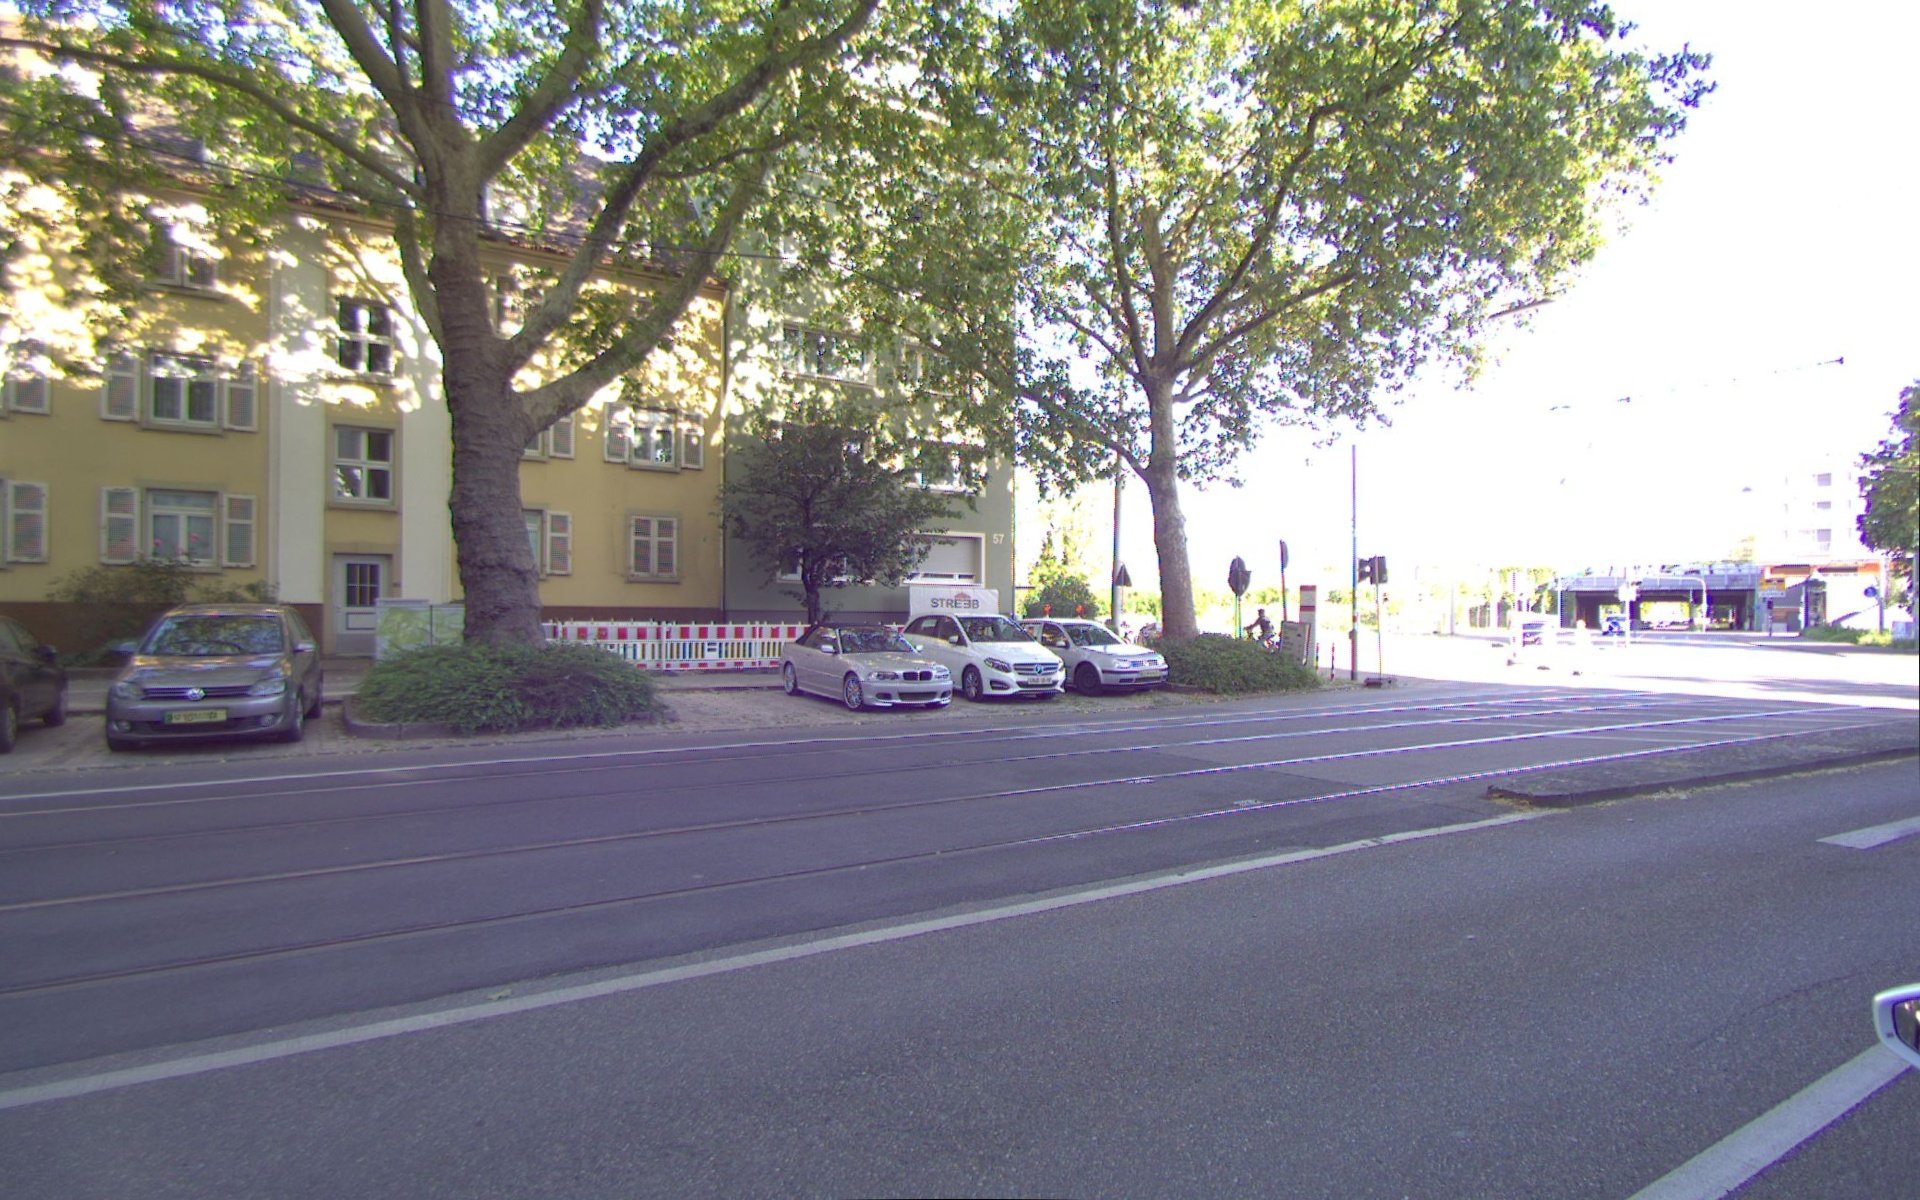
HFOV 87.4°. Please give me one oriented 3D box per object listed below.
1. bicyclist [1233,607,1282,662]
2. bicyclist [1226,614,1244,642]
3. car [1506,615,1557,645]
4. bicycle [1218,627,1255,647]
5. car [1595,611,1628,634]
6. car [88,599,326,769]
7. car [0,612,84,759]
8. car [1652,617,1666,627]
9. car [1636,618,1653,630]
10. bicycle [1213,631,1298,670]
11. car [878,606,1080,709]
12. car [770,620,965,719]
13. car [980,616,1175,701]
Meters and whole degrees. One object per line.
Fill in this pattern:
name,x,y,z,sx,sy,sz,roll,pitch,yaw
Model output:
bicyclist,8.465,0.976,28.589,1.099,1.540,0.918,0,-1,38
bicyclist,15.810,1.620,57.772,0.850,1.616,0.647,0,-1,37
car,32.426,1.681,56.940,1.803,1.539,3.876,2,1,40
bicycle,15.868,2.129,57.680,2.029,1.108,0.590,0,-1,38
car,54.417,1.867,83.912,2.181,1.847,4.138,0,-1,31
car,-9.042,0.859,12.426,1.793,1.627,4.169,1,1,-29
car,-11.399,0.880,11.297,1.723,1.448,3.545,1,0,-31
car,135.148,4.239,194.293,1.966,1.973,4.488,0,-1,32
car,94.629,3.297,138.854,1.967,1.623,4.234,0,-1,34
bicycle,8.406,1.411,28.633,2.163,1.047,0.831,0,-1,38
car,0.215,0.993,19.479,1.777,1.640,4.587,1,1,-30
car,-1.735,1.094,17.435,1.708,1.386,4.219,1,0,-31
car,2.294,1.109,20.824,1.656,1.448,4.490,1,0,-30
